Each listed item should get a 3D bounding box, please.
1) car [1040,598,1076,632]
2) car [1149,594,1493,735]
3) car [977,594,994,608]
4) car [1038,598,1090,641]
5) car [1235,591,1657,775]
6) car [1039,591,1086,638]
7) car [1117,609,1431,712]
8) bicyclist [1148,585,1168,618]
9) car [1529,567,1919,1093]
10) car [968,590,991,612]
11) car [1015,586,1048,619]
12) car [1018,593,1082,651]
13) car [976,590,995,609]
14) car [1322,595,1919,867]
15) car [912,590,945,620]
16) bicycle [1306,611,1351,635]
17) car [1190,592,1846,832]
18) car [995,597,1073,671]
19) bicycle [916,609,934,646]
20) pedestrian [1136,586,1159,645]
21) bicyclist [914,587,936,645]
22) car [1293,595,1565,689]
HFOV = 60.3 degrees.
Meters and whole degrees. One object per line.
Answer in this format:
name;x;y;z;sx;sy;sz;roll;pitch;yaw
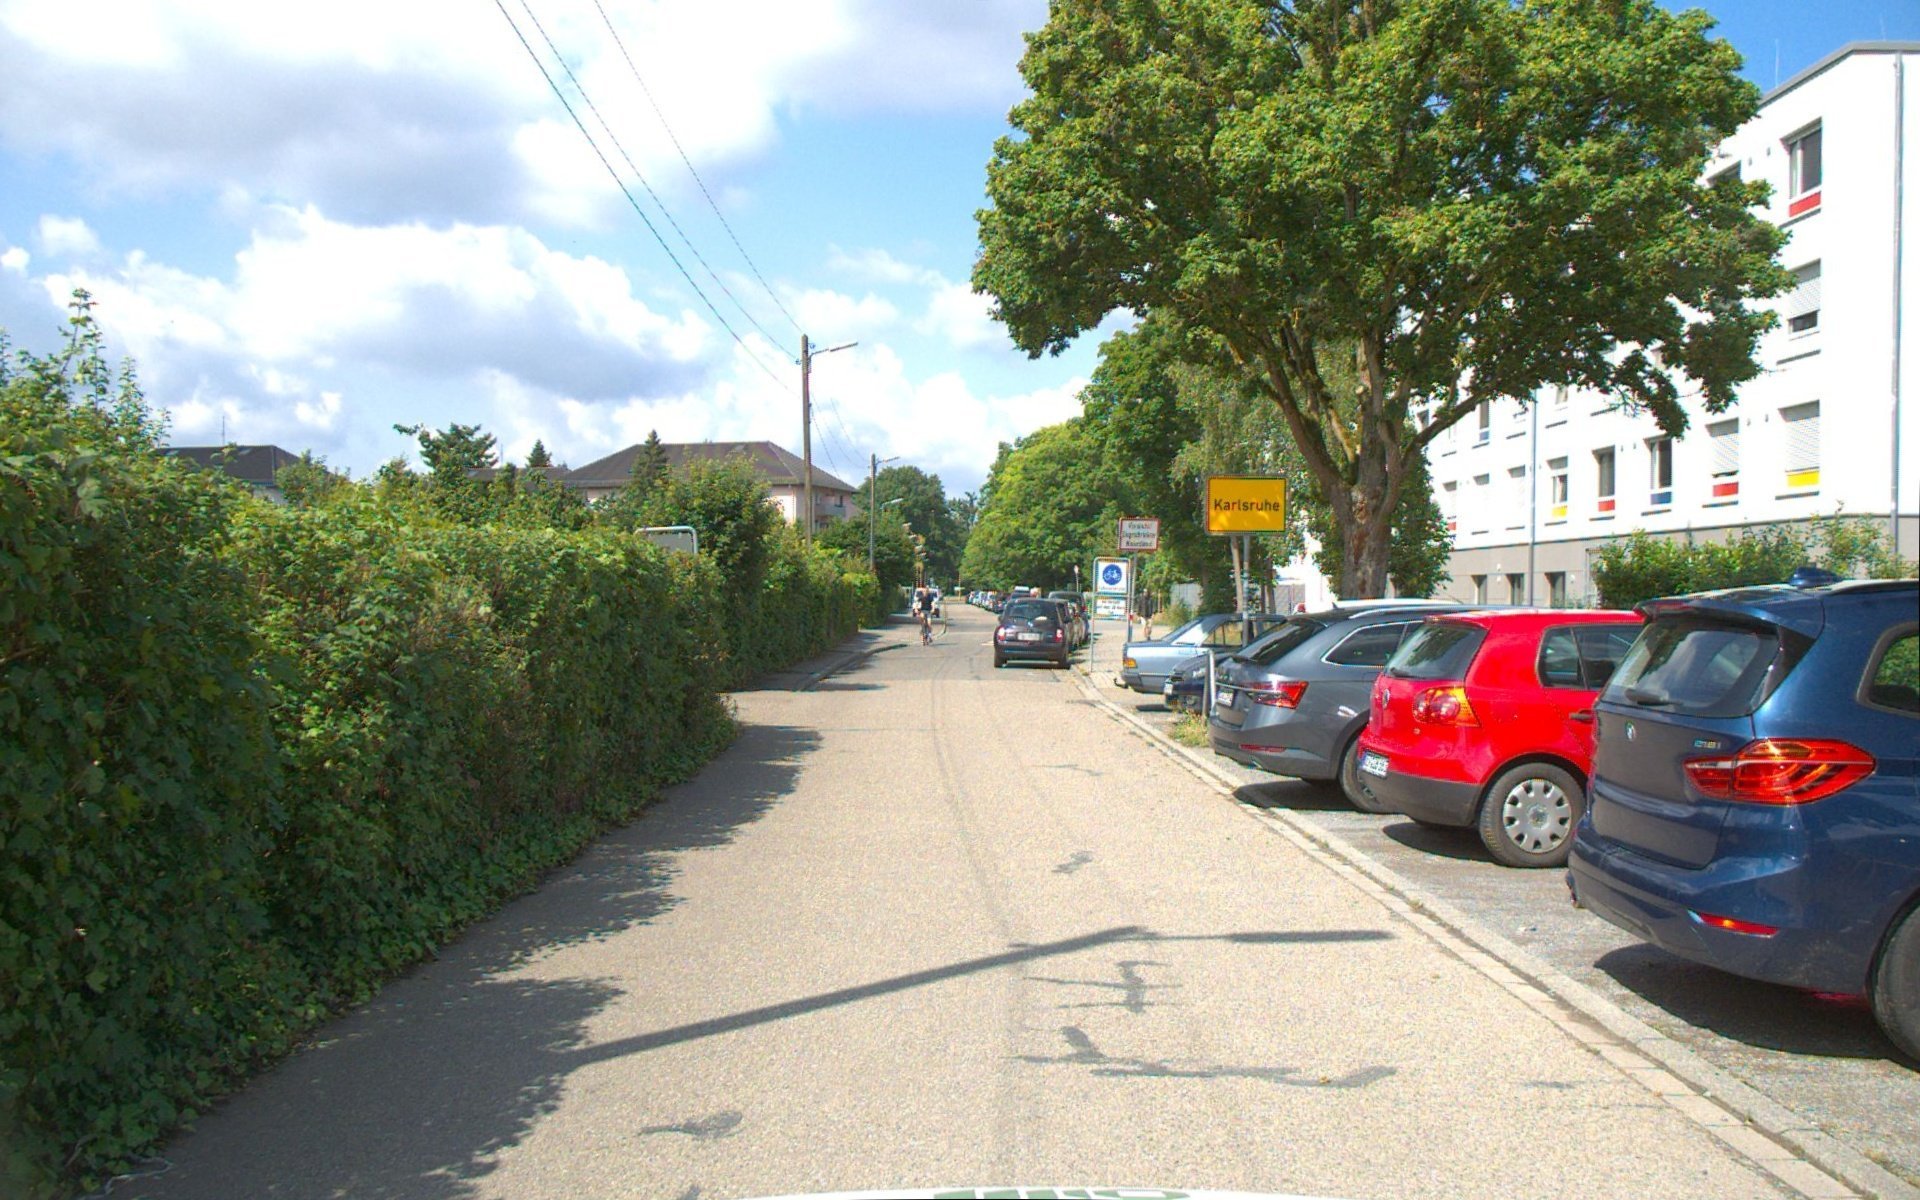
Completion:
car;4.752;0.715;80.516;1.644;1.545;4.001;2;0;2
car;4.446;0.781;20.753;3.854;1.587;1.867;2;0;-2
car;3.118;0.084;200.326;1.813;1.646;4.002;2;0;4
car;3.738;0.695;59.871;1.629;1.460;3.542;2;0;0
car;4.566;0.764;15.834;3.503;1.576;1.665;2;0;-4
car;4.185;0.584;67.219;1.835;1.838;3.434;2;0;4
car;4.432;0.854;23.861;4.267;1.416;1.719;0;0;3
bicyclist;11.234;0.074;93.881;0.770;1.817;0.892;1;-1;32
car;4.481;0.728;6.183;4.069;1.666;1.879;0;0;0
car;1.842;0.070;155.670;2.015;1.996;4.542;2;0;2
car;4.577;0.166;106.316;2.015;1.960;4.542;2;0;2
car;2.692;0.631;48.714;1.628;1.579;3.640;2;0;7
car;2.830;-0.016;185.496;1.953;2.049;3.999;2;0;-1
car;4.346;0.754;10.435;3.732;1.559;1.762;0;0;-1
car;-2.008;0.333;106.024;1.863;1.846;4.001;2;0;2
bicycle;17.802;1.113;79.997;2.045;1.139;0.625;-1;0;4
car;4.175;0.815;12.841;4.457;1.606;1.808;2;0;-2
car;1.736;0.745;37.745;1.628;1.532;4.002;2;0;4
bicycle;-1.151;0.890;54.667;0.507;1.170;1.827;-1;0;2
pedestrian;5.748;0.462;50.687;0.597;1.776;0.722;1;-1;13
bicyclist;-1.150;0.531;54.660;0.645;1.884;1.043;-1;0;2
car;8.000;0.703;28.462;4.155;1.455;1.758;-1;0;-2
